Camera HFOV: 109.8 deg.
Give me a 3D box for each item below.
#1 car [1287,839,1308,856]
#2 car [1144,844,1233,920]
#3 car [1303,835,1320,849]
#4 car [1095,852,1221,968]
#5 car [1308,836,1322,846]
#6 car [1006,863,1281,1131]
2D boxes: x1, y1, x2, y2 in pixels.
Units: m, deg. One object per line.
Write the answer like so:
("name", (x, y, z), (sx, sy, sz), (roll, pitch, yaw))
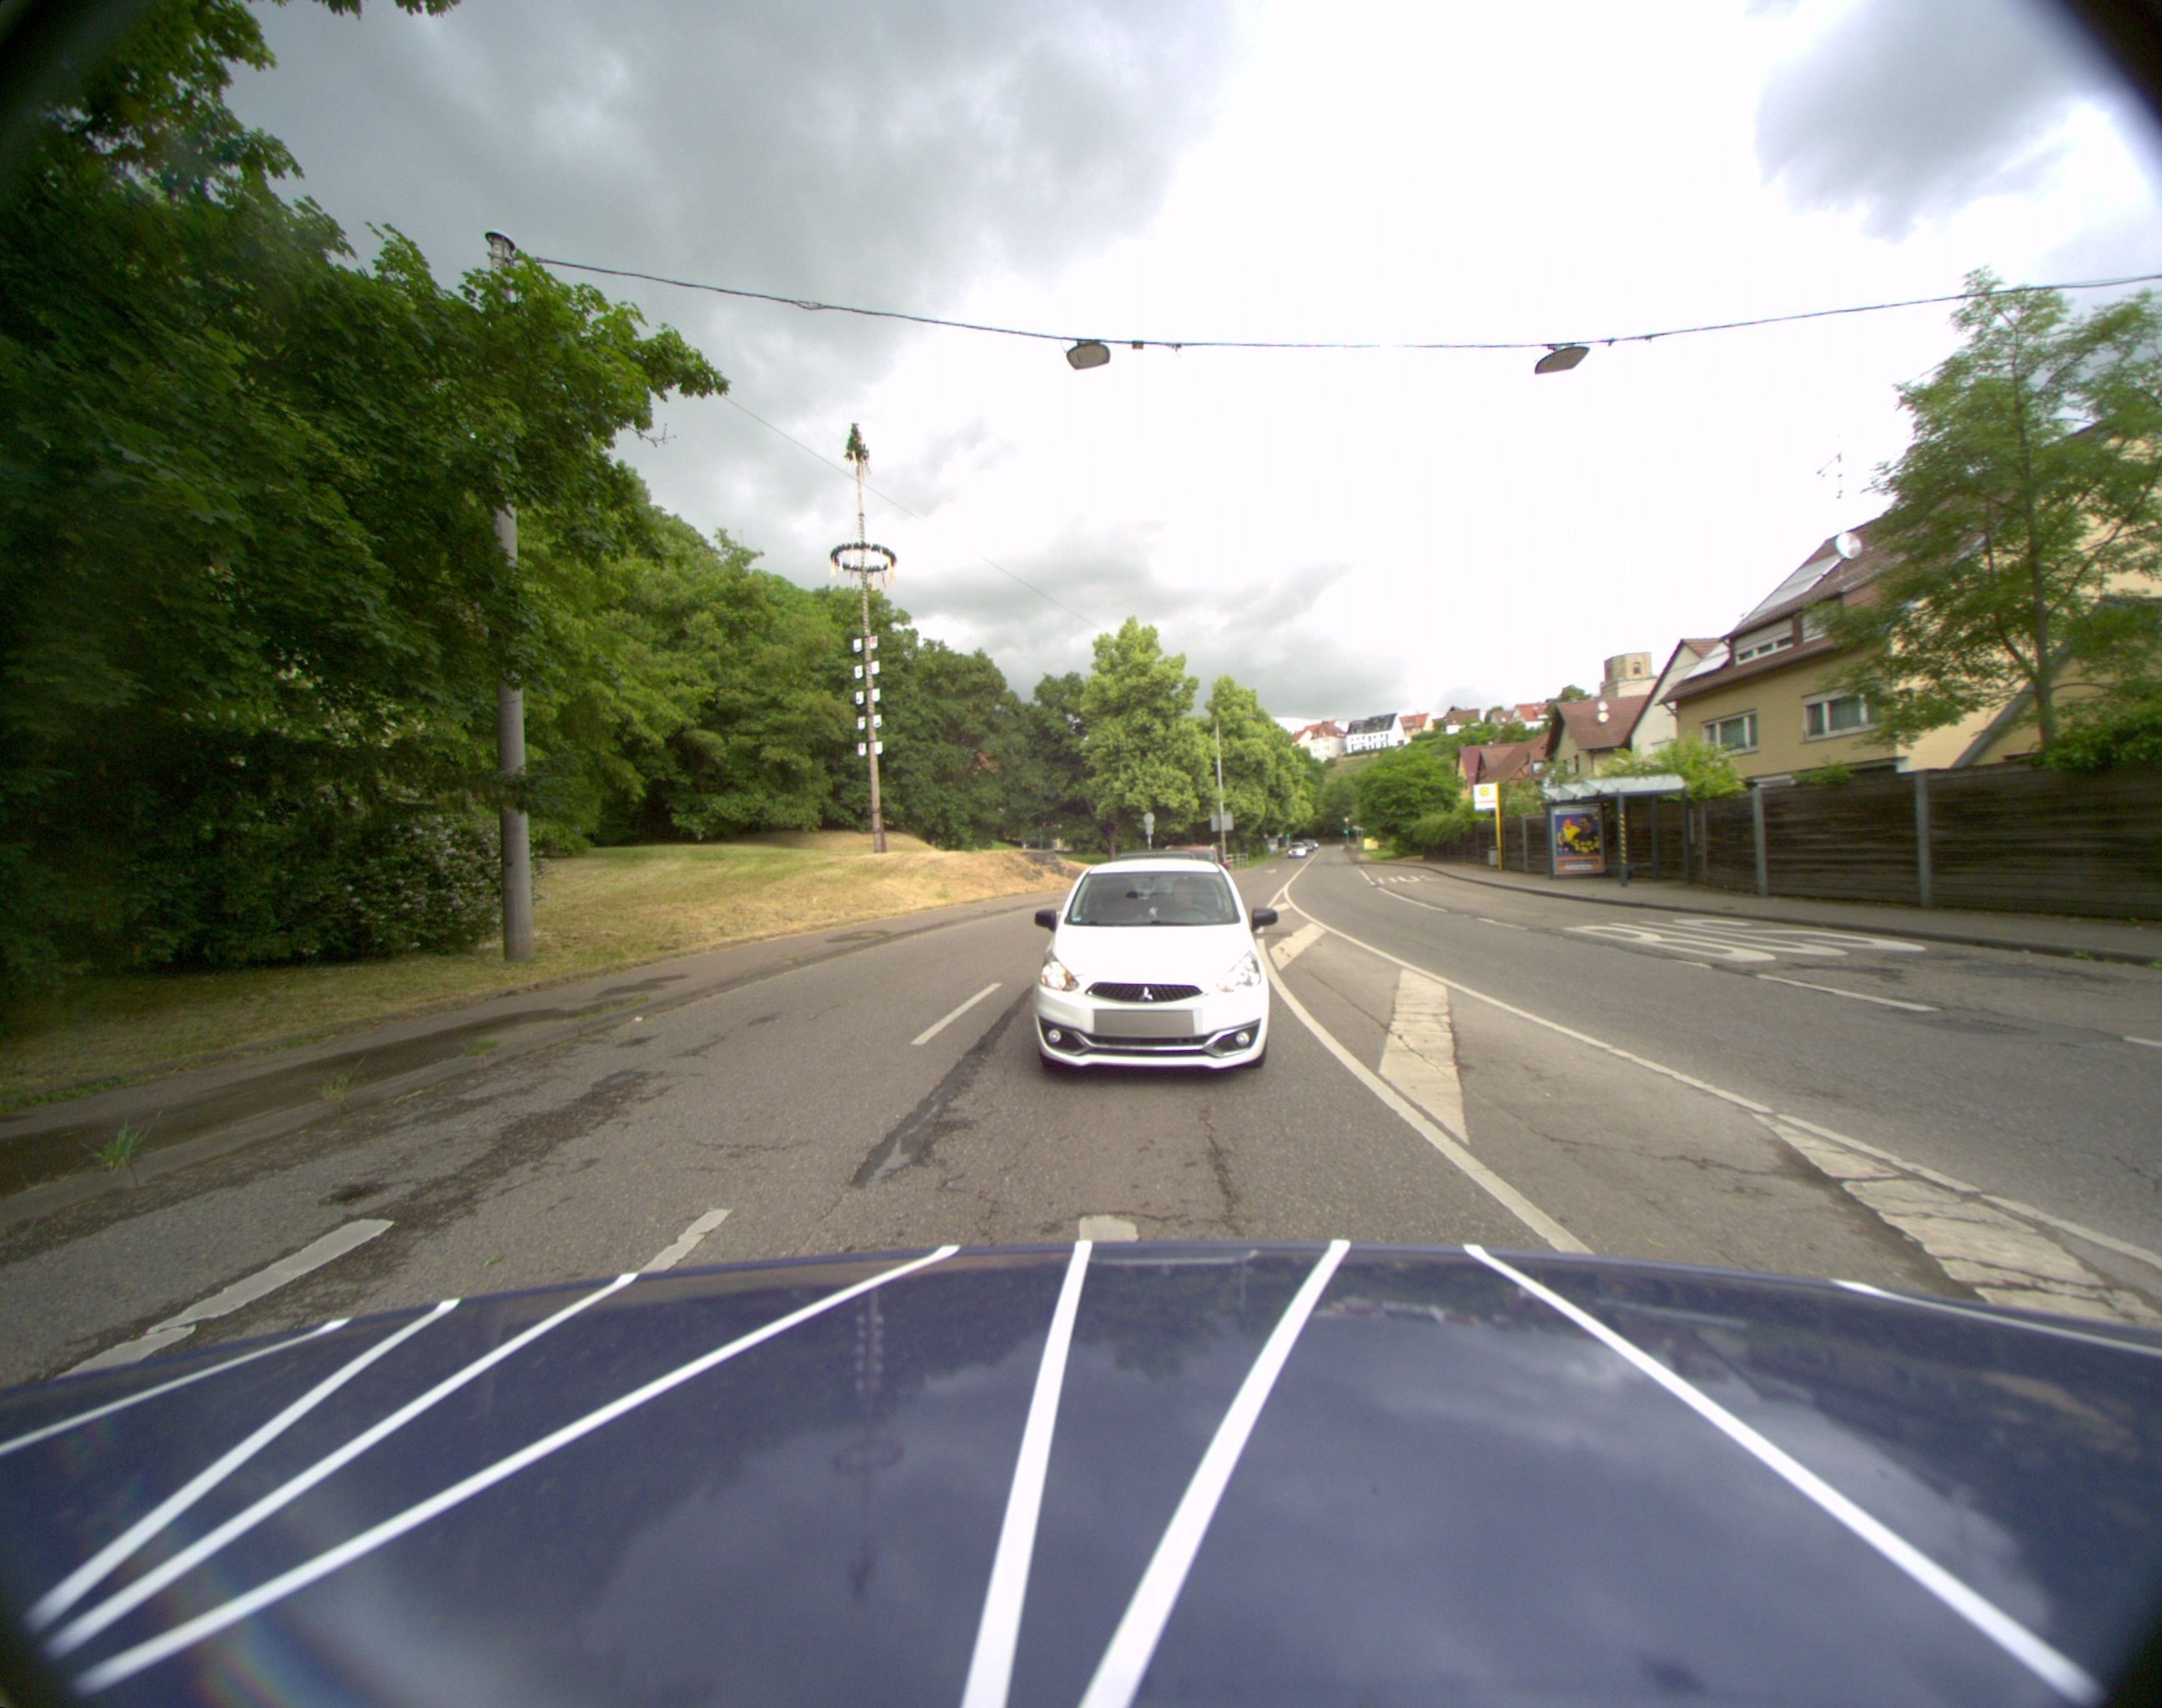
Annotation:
("car", (22.613, -0.722, 79.621), (1.844, 1.630, 4.003), (-2, 1, 13))
("car", (2.859, 0.631, 19.459), (1.826, 1.662, 4.061), (-2, 1, 13))
("car", (32.489, -1.716, 106.859), (1.908, 1.745, 4.005), (-3, 0, 22))
("car", (1.369, 0.795, 12.591), (1.723, 1.539, 3.784), (-2, 1, 9))
("car", (39.662, -2.257, 128.887), (1.844, 1.608, 4.003), (-2, 1, 12))
("car", (0.640, 0.908, 6.430), (1.617, 1.505, 3.607), (-2, 1, 9))
